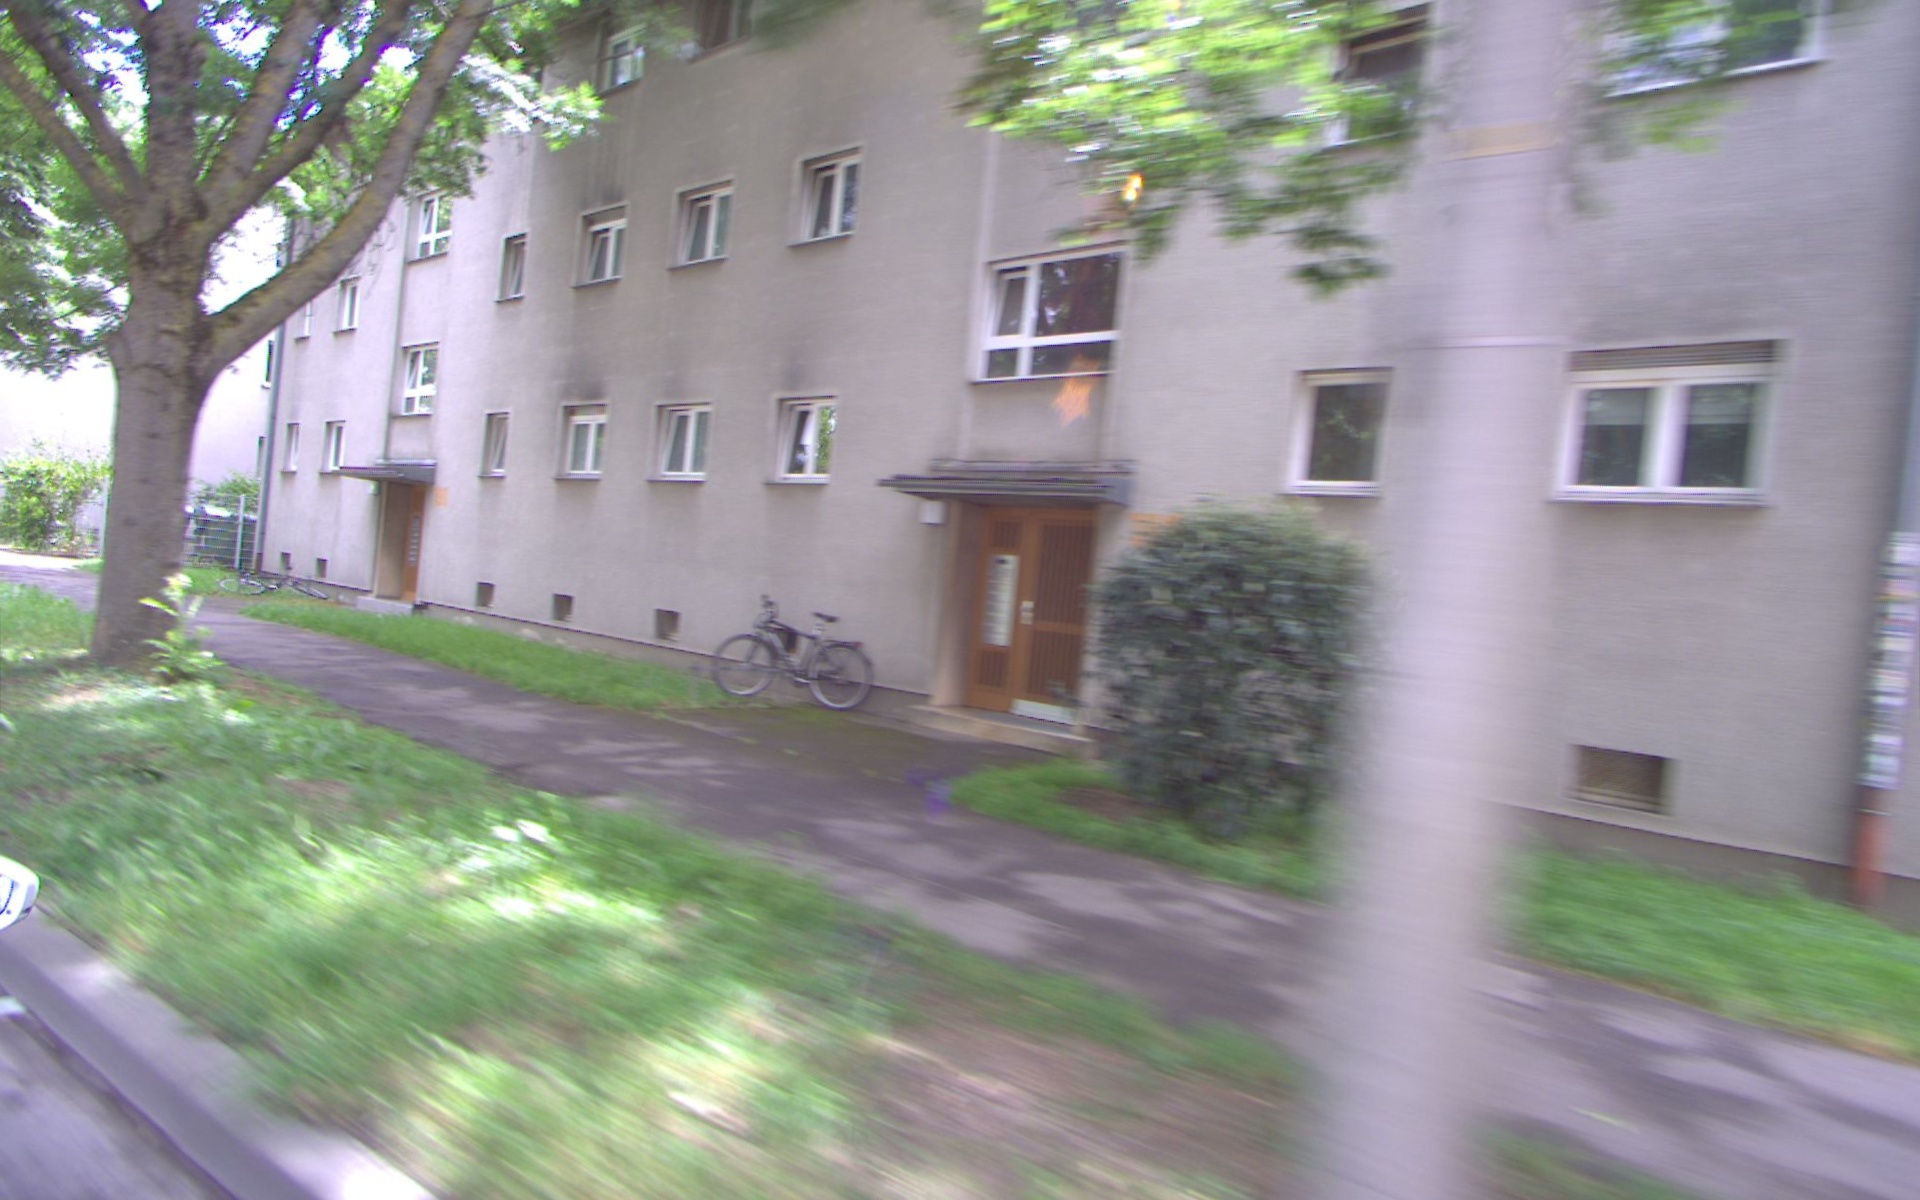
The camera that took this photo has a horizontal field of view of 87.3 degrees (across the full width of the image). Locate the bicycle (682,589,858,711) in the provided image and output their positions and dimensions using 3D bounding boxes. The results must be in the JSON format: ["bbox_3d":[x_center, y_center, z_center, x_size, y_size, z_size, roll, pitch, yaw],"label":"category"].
[{"bbox_3d":[-2.040,0.542,10.949,1.723,1.093,0.436,7,-1,-4],"label":"bicycle"}]

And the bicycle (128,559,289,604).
[{"bbox_3d":[-13.456,-0.321,18.080,0.664,0.513,2.202,6,-3,42],"label":"bicycle"}]
